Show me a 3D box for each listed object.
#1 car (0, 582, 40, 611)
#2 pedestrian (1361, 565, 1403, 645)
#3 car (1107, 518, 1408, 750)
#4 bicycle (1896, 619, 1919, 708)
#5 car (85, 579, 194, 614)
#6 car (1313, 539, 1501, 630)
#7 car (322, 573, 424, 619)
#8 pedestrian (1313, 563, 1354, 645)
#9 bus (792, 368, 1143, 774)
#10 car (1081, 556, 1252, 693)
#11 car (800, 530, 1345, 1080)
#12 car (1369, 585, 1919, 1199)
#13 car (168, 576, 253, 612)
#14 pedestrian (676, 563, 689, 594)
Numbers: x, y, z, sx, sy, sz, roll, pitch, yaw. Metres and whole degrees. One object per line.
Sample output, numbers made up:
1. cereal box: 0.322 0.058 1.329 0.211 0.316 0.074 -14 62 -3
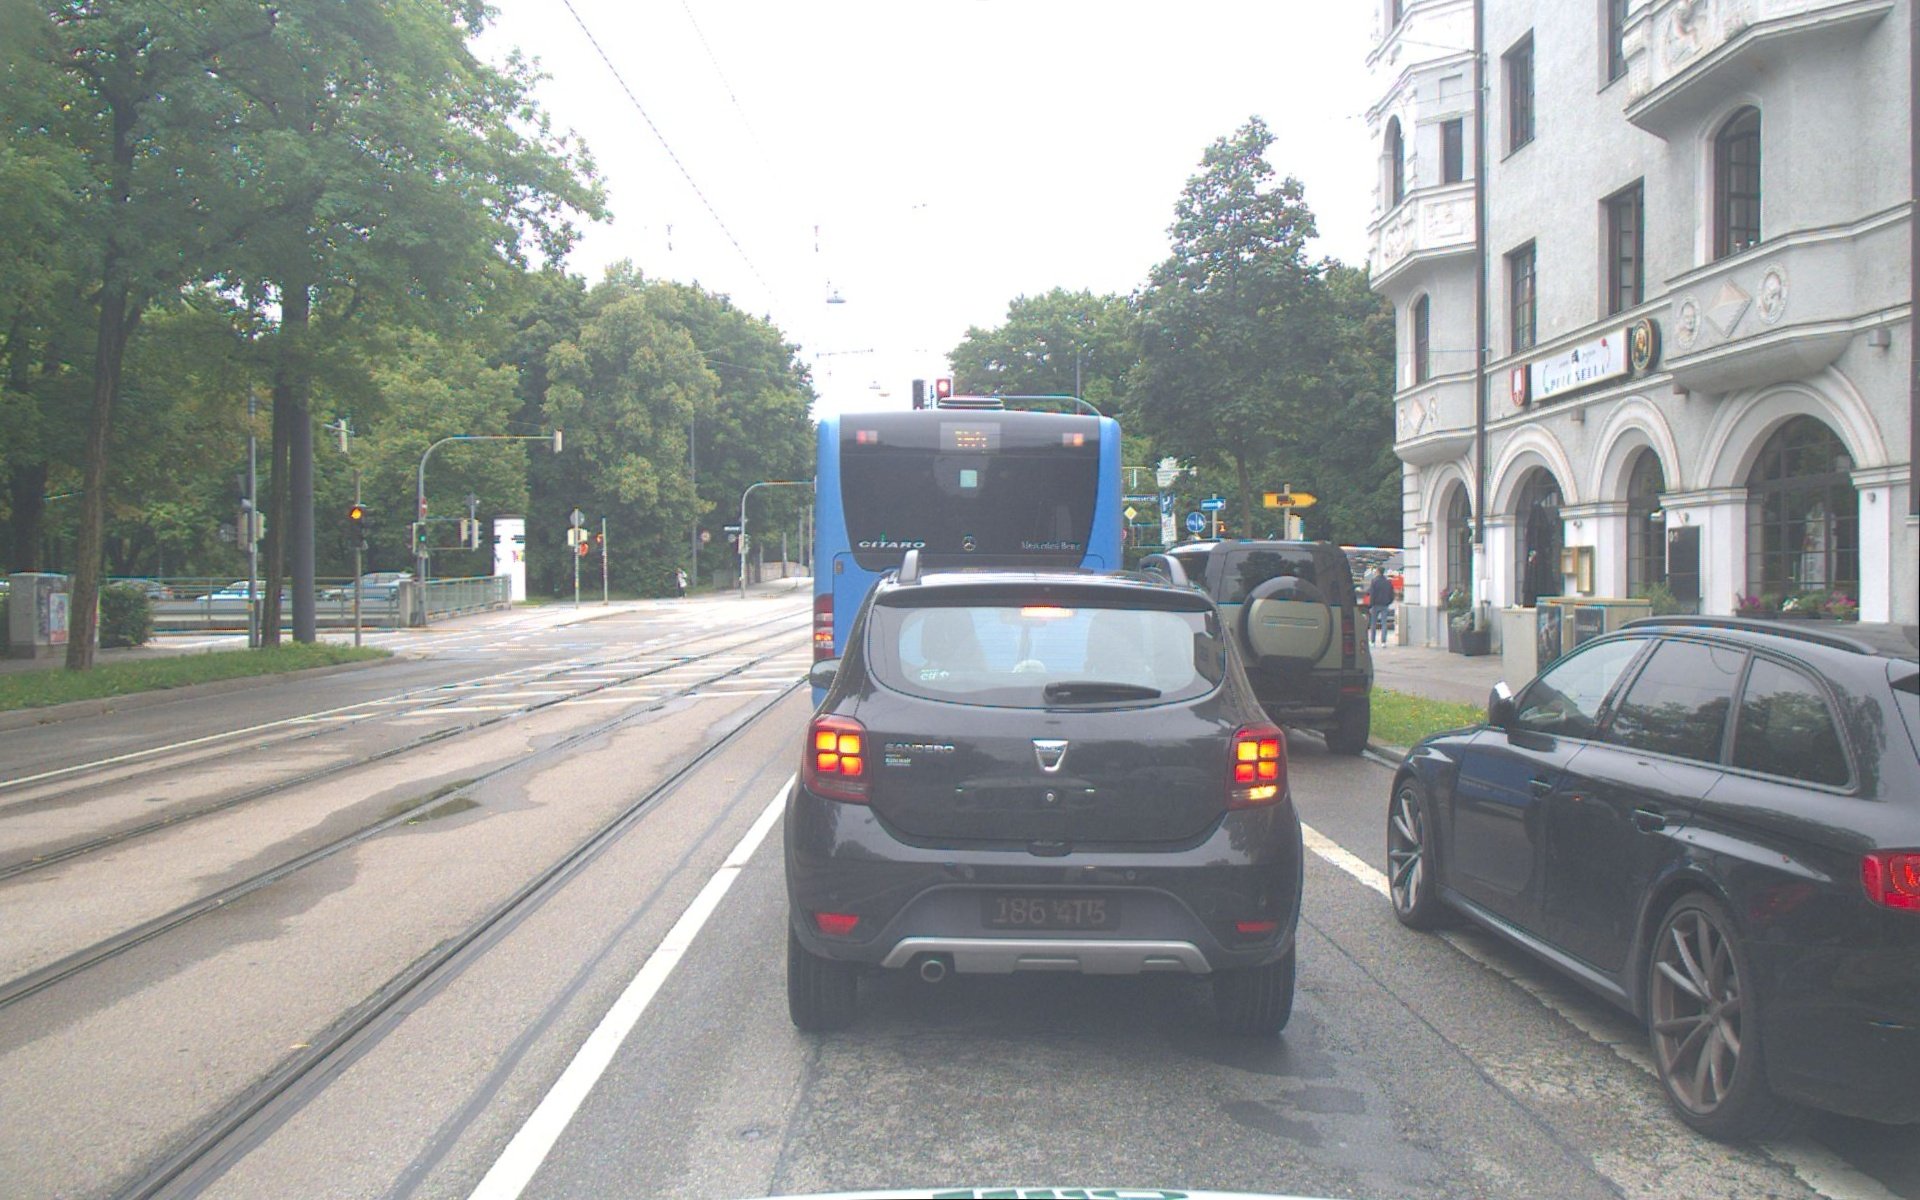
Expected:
1. car: -41.923 -0.164 71.380 3.656 1.206 1.249 1 0 -6
2. pedestrian: 9.537 0.108 37.370 0.690 1.762 0.843 1 0 -1
3. car: 2.752 0.280 16.490 1.876 1.939 4.805 1 0 -3
4. bicycle: 10.455 0.689 17.787 0.254 0.947 0.886 1 0 0
5. car: -35.622 -0.153 71.888 3.848 1.429 1.719 1 0 -5
6. car: 13.896 -0.477 51.598 5.191 2.658 2.229 1 0 -4
7. car: -25.825 -0.160 72.807 3.946 1.920 1.488 1 0 -8
8. pedestrian: 8.549 0.086 37.865 0.690 1.848 0.869 1 0 -1
9. bus: -0.091 -0.234 16.146 2.625 3.050 6.957 1 0 -3
10. car: 2.670 0.286 22.280 1.679 1.619 4.326 1 0 -1
11. car: 0.294 0.598 6.616 1.568 1.584 3.524 1 0 -1
12. car: 2.917 0.703 5.848 1.681 1.451 4.601 1 0 -1
13. car: -32.581 -0.242 71.945 3.050 1.477 1.249 1 0 -6
14. pedestrian: -14.033 -1.088 83.647 0.520 1.527 0.588 1 0 4
